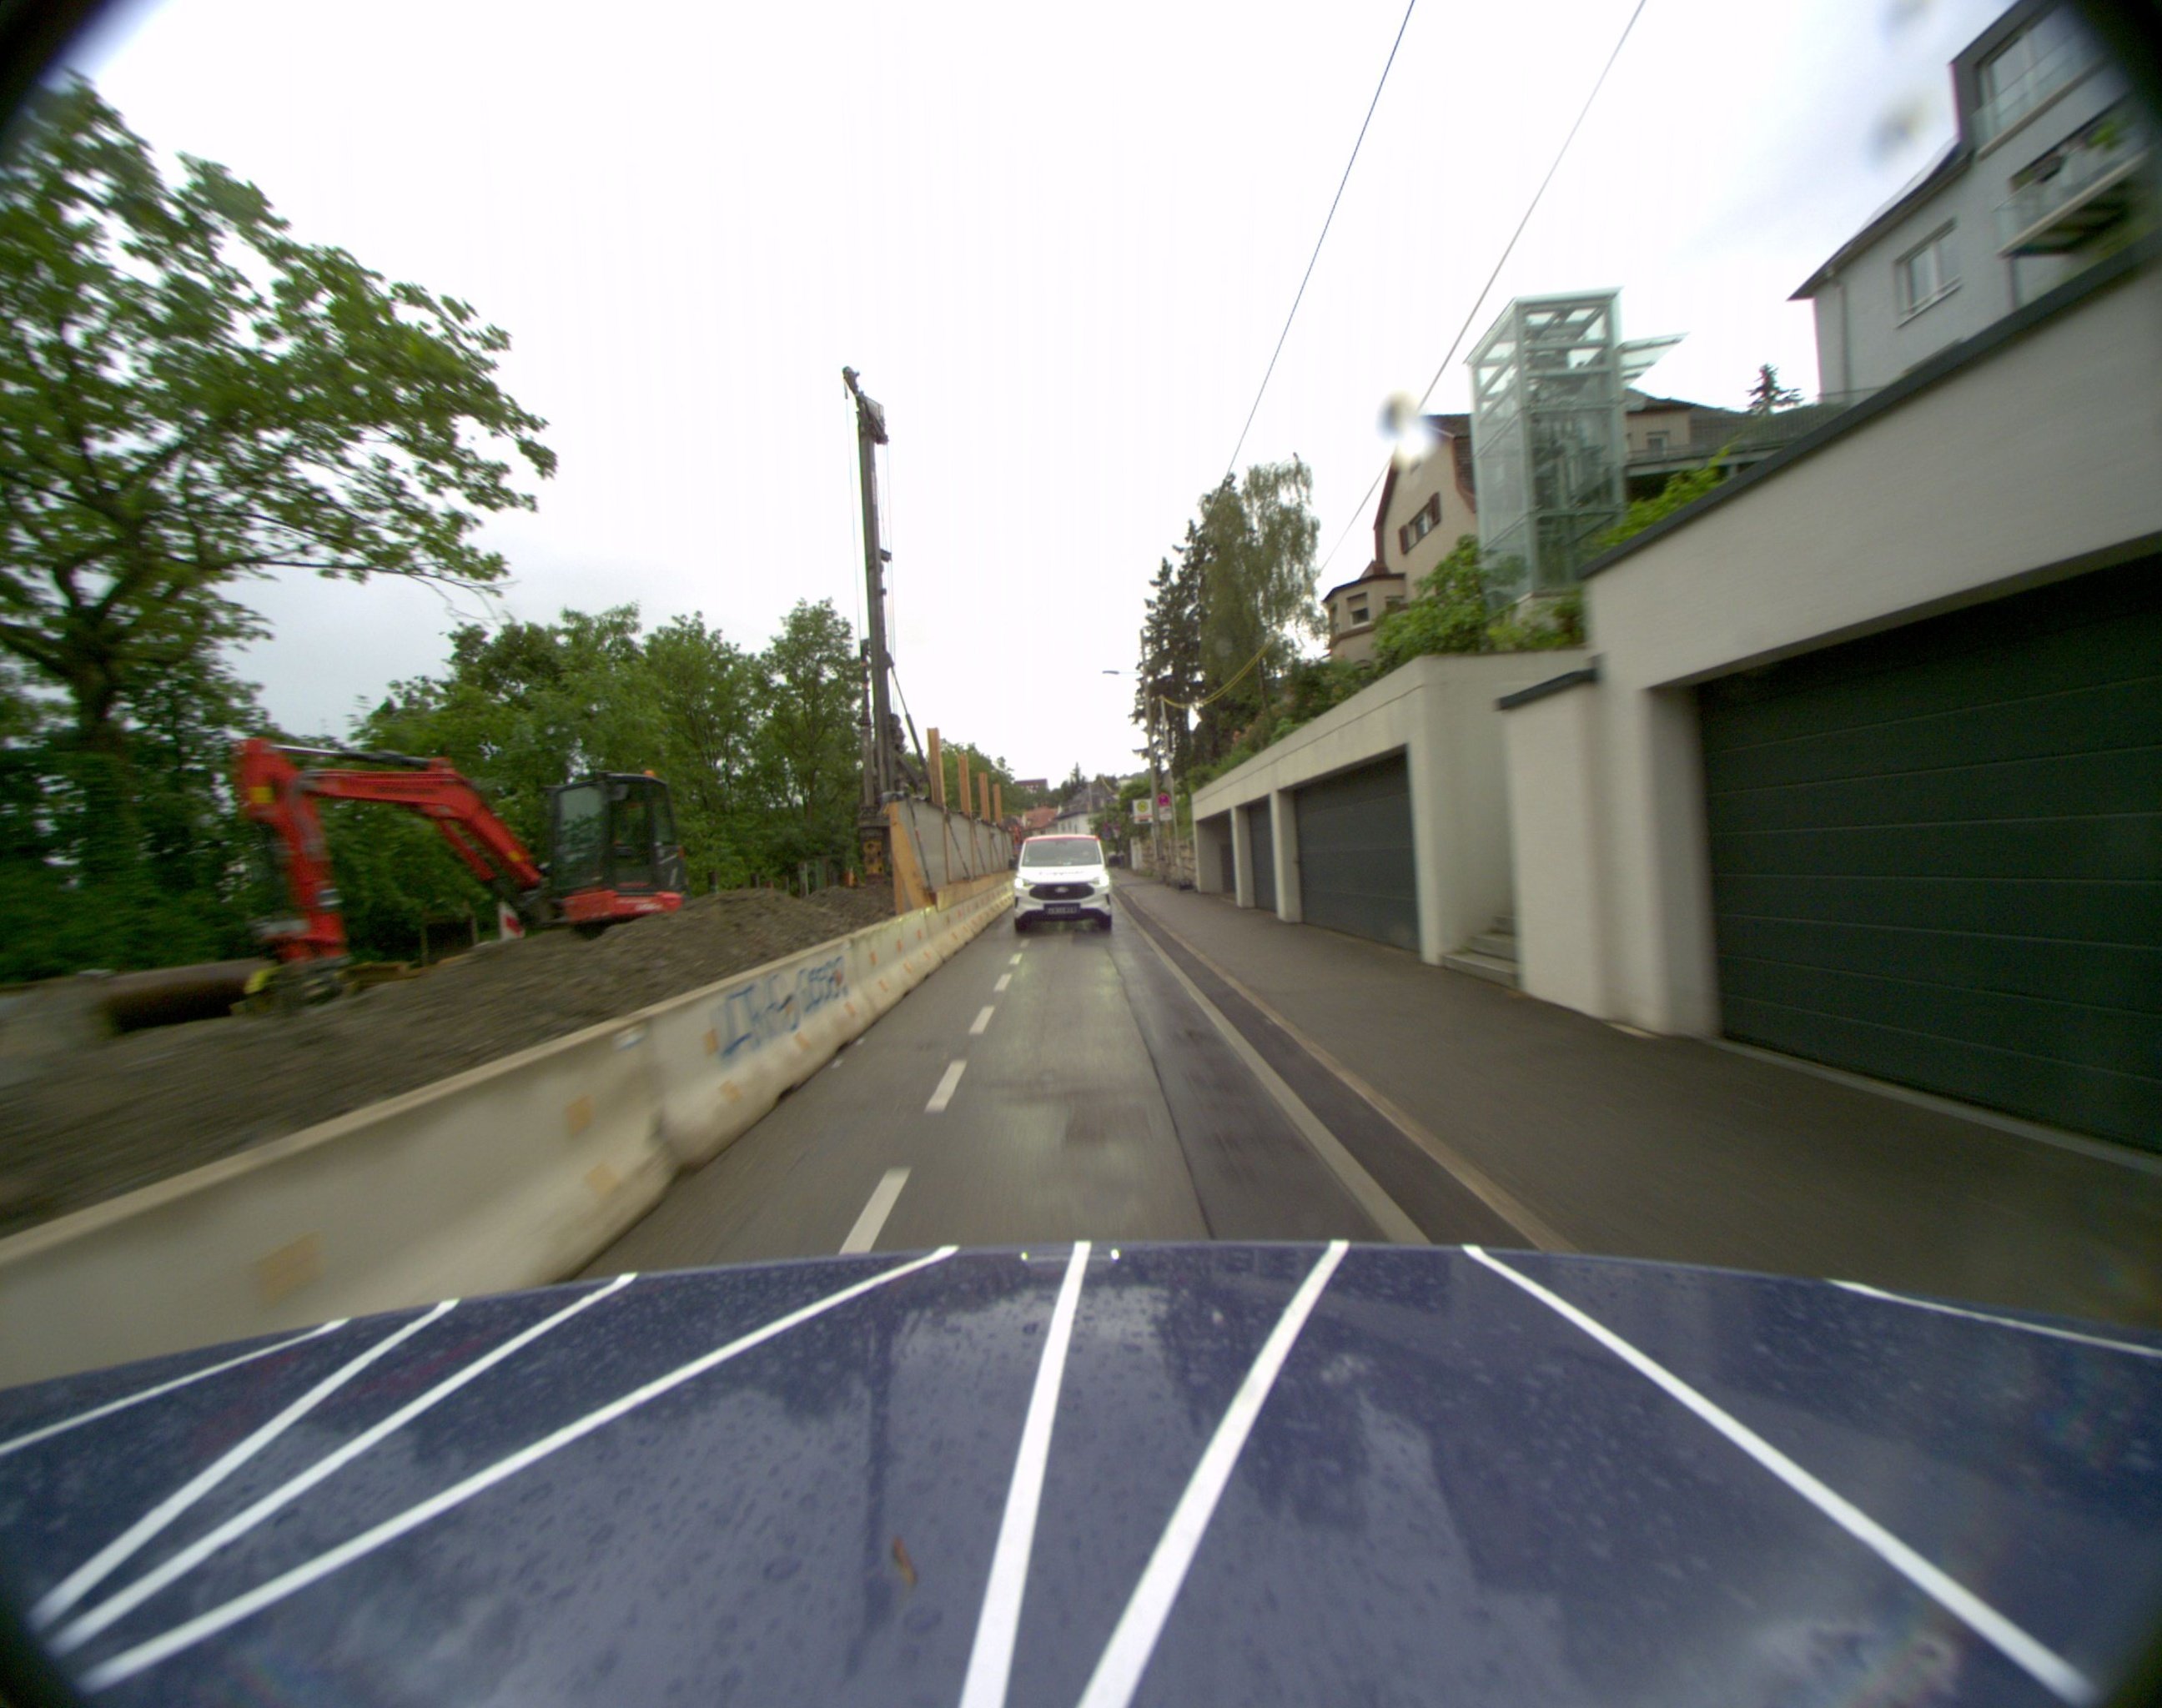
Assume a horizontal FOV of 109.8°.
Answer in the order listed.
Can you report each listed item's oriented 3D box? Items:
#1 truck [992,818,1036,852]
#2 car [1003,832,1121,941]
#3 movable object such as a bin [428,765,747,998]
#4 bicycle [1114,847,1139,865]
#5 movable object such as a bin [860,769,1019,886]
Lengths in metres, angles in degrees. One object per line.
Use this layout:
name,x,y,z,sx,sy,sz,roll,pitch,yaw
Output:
truck,-4.370,-1.242,50.155,2.557,2.096,3.303,-3,1,-1
car,-0.451,0.562,16.869,2.046,1.883,5.207,-5,1,-2
movable object such as a bin,-6.511,0.295,10.549,2.101,2.587,3.175,-5,1,0
bicycle,3.174,0.127,53.528,1.621,1.124,0.443,-4,2,13
movable object such as a bin,-6.645,-1.259,37.001,3.685,5.037,7.173,-2,2,28
